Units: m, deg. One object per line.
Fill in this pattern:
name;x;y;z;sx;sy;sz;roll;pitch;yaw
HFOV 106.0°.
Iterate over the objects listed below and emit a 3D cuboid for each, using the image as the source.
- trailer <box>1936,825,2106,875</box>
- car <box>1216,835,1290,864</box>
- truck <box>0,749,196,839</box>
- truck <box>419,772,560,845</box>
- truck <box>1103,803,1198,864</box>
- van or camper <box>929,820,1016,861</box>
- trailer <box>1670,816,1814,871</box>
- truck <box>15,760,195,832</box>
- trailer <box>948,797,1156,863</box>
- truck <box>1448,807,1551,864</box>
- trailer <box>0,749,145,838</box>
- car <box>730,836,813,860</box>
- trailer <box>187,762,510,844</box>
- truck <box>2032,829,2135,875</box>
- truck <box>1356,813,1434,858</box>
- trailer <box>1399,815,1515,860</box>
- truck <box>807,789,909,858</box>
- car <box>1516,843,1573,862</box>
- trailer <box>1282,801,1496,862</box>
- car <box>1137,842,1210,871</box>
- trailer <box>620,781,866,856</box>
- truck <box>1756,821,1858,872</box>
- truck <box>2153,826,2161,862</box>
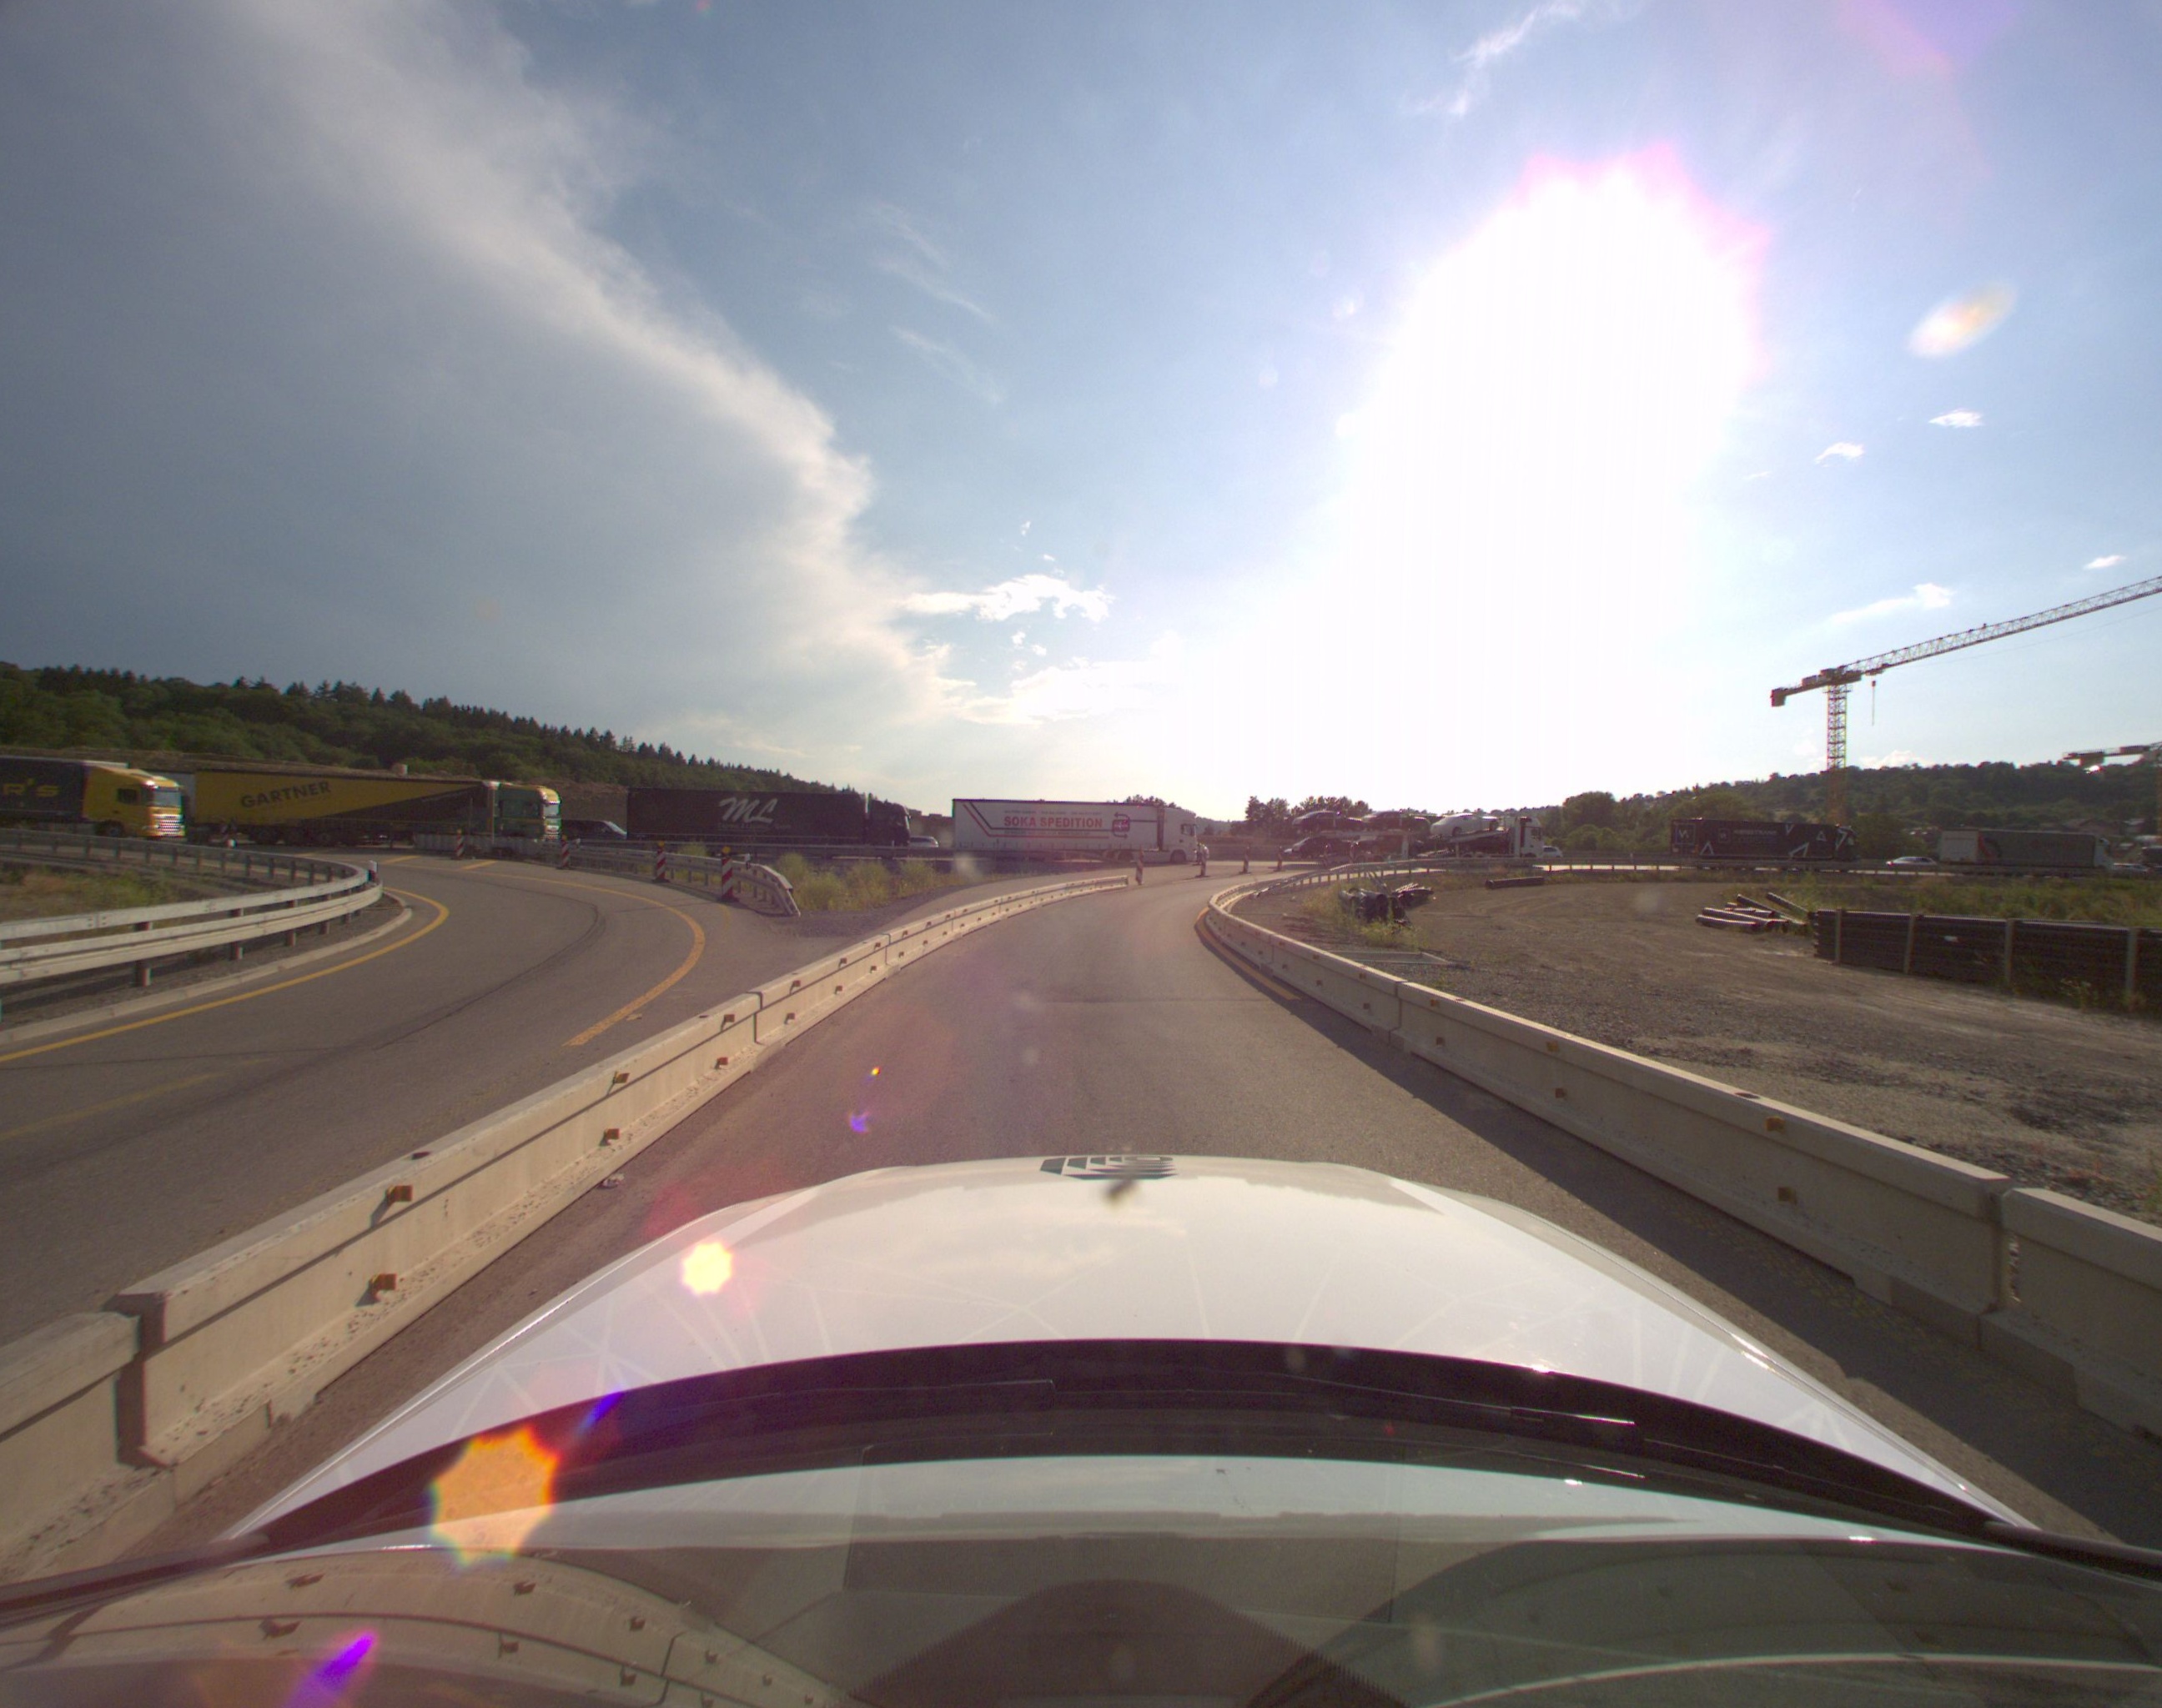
trailer;84.294;-0.352;73.020;14.708;3.996;3.382;1;1;-13
car;12.802;-0.339;60.776;4.965;1.980;2.028;1;3;-12
truck;-52.369;-3.078;43.056;6.877;4.314;3.102;1;-1;-12
truck;-34.026;-2.572;47.076;5.996;3.901;2.479;1;1;-12
truck;4.747;-1.385;55.907;5.997;3.878;2.478;1;1;-13
van or camper;-7.602;-0.930;56.839;5.886;2.619;1.993;1;1;-11
trailer;54.036;-0.822;66.637;10.762;4.092;2.957;1;0;-11
truck;-59.489;-3.438;49.844;6.608;3.996;2.846;1;1;-13
trailer;-1.912;-1.542;54.349;13.598;3.878;2.478;1;1;-13
truck;31.792;-1.373;61.999;6.608;3.996;2.846;1;1;-13
trailer;-58.253;-3.187;41.826;14.213;4.314;3.101;1;-1;-12
car;-21.088;-0.437;55.704;4.965;1.500;2.028;1;3;-12
trailer;-40.547;-2.745;45.667;13.939;3.958;2.479;1;1;-12
truck;91.958;-0.157;74.747;6.608;3.996;3.340;1;1;-12
truck;27.574;-1.547;71.621;5.673;3.727;2.994;1;-1;-12
trailer;33.615;-1.417;72.900;9.543;3.752;3.005;1;-1;-12
truck;-14.016;-1.888;51.617;5.999;4.059;2.477;1;1;-14
car;40.226;-0.127;70.724;4.226;1.500;1.656;1;3;-12
trailer;22.732;-1.576;59.996;15.707;3.996;2.855;1;1;-13
car;6.763;0.195;59.684;4.965;1.980;2.028;1;3;-12
trailer;-20.310;-2.073;49.994;13.602;4.061;2.477;1;1;-14
truck;60.549;-0.632;67.988;6.605;3.996;2.884;1;1;-11
truck;124.608;-1.042;91.574;6.113;4.066;2.626;1;-1;-12
